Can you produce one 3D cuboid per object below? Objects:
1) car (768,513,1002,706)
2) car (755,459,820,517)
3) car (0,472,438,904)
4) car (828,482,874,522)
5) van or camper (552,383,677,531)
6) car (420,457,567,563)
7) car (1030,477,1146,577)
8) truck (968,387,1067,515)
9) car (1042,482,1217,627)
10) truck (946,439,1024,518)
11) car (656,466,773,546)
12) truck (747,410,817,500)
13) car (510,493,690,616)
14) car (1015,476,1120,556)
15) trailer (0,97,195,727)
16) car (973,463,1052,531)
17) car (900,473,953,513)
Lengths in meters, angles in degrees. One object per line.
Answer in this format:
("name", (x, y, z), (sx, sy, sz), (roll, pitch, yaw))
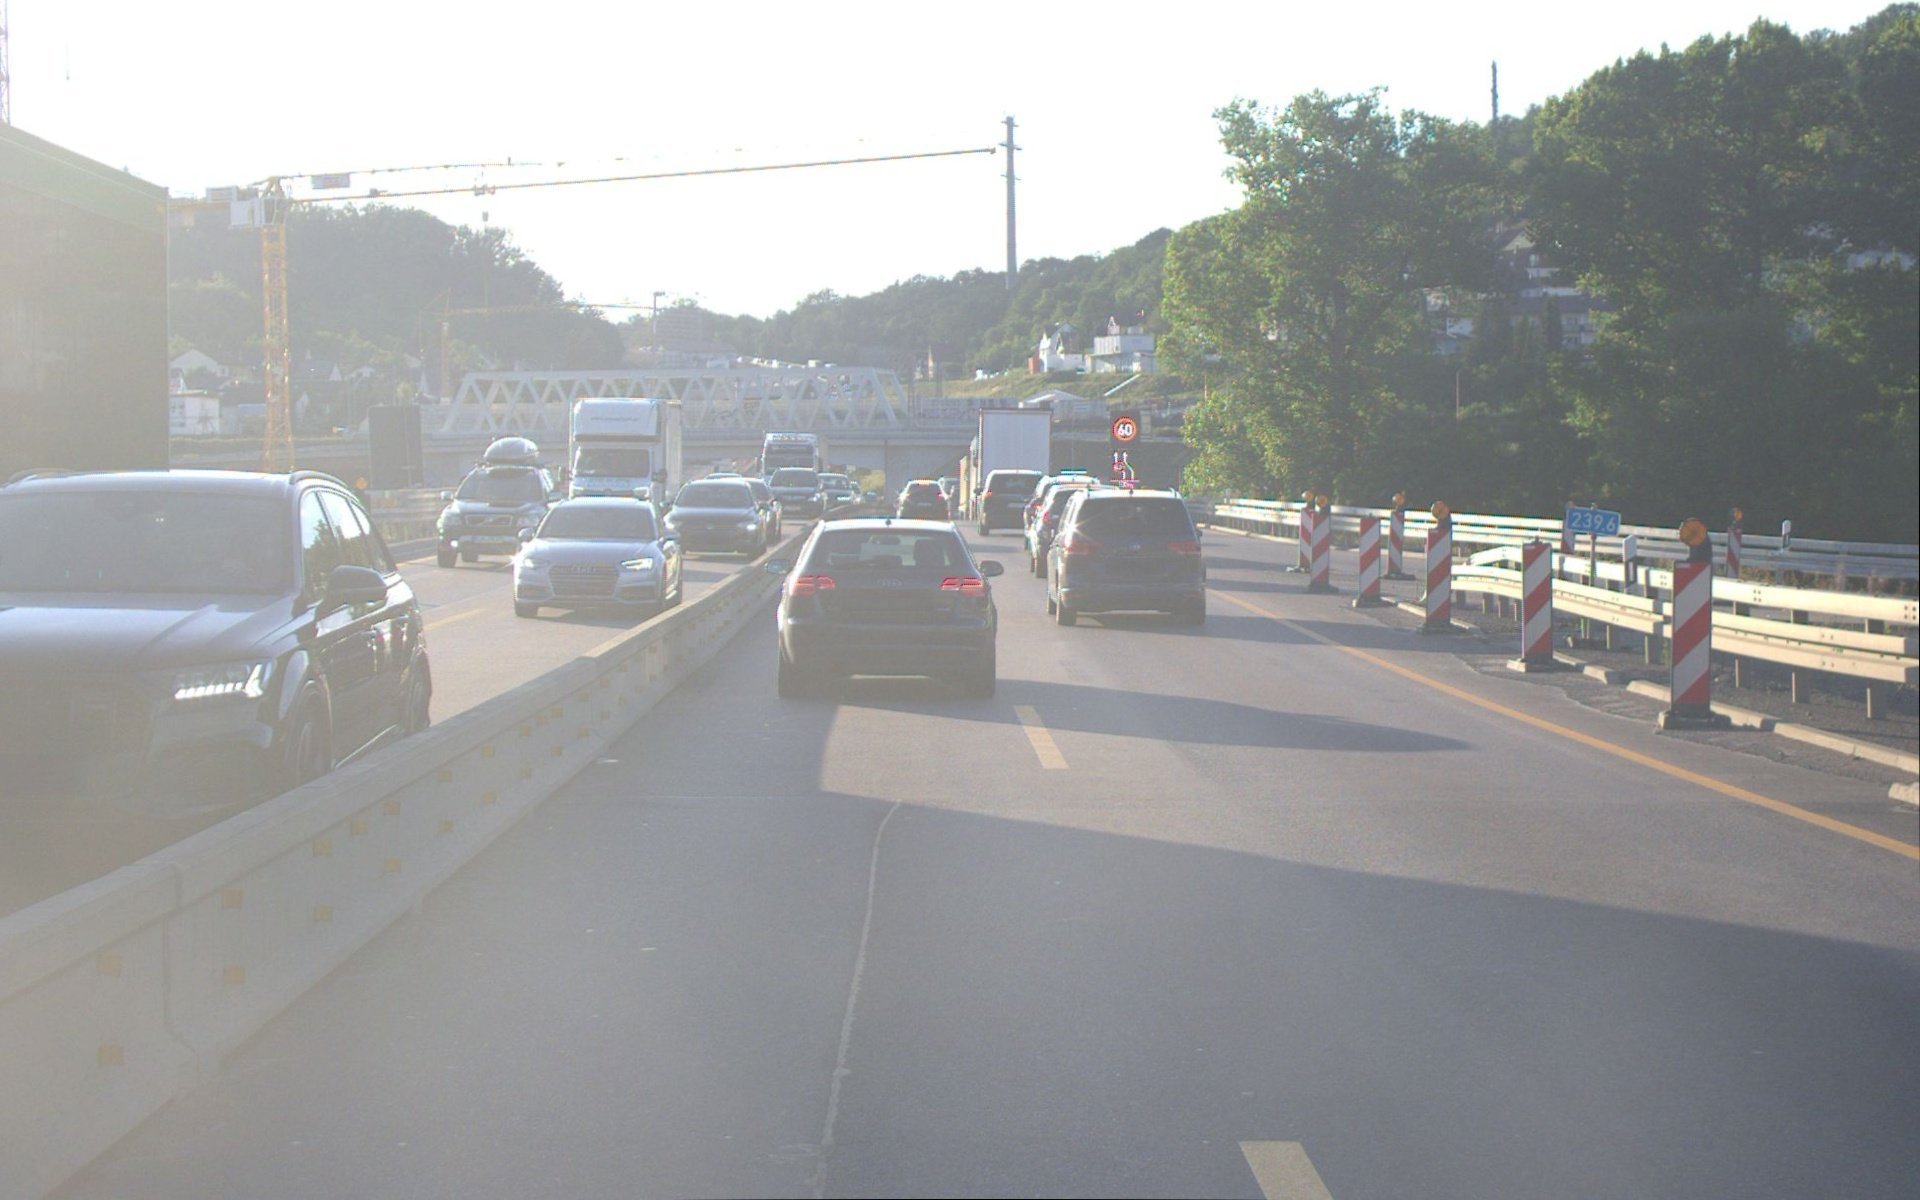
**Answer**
("car", (-0.649, 0.024, 28.318), (1.770, 1.385, 4.001), (1, 2, -2))
("car", (-5.025, -3.287, 100.541), (1.827, 1.634, 4.531), (0, 2, -2))
("car", (-3.571, 0.305, 15.068), (1.911, 1.603, 4.495), (0, 0, -1))
("car", (-4.372, -3.911, 137.460), (1.766, 1.529, 4.001), (1, 1, -2))
("van or camper", (-8.533, -3.556, 85.632), (2.457, 3.486, 7.415), (1, 2, -1))
("car", (-8.124, -1.586, 60.228), (1.993, 1.758, 4.441), (1, 2, 0))
("car", (2.122, -1.255, 57.918), (1.774, 1.580, 4.135), (1, 2, 0))
("truck", (2.058, -5.736, 130.042), (3.385, 4.482, 15.270), (1, 3, 0))
("car", (2.032, -0.609, 42.340), (1.812, 1.609, 4.527), (0, 3, -1))
("truck", (1.415, -7.362, 207.444), (3.890, 4.482, 13.851), (1, 2, -3))
("car", (-4.655, -1.773, 65.693), (1.815, 1.458, 4.706), (1, 1, 1))
("truck", (-8.074, -6.557, 156.288), (2.814, 4.034, 5.672), (0, 2, 1))
("car", (-4.479, -0.598, 43.287), (1.861, 1.427, 4.156), (1, 1, -1))
("car", (2.195, -1.739, 71.480), (1.875, 1.594, 4.966), (0, 1, -2))
("trailer", (-7.512, -1.201, 21.349), (2.773, 4.017, 13.684), (1, 1, -2))
("car", (1.294, -2.566, 86.209), (1.814, 1.626, 4.412), (1, 1, -1))
("car", (-1.244, -3.969, 127.386), (1.863, 1.415, 4.000), (2, 2, -1))
